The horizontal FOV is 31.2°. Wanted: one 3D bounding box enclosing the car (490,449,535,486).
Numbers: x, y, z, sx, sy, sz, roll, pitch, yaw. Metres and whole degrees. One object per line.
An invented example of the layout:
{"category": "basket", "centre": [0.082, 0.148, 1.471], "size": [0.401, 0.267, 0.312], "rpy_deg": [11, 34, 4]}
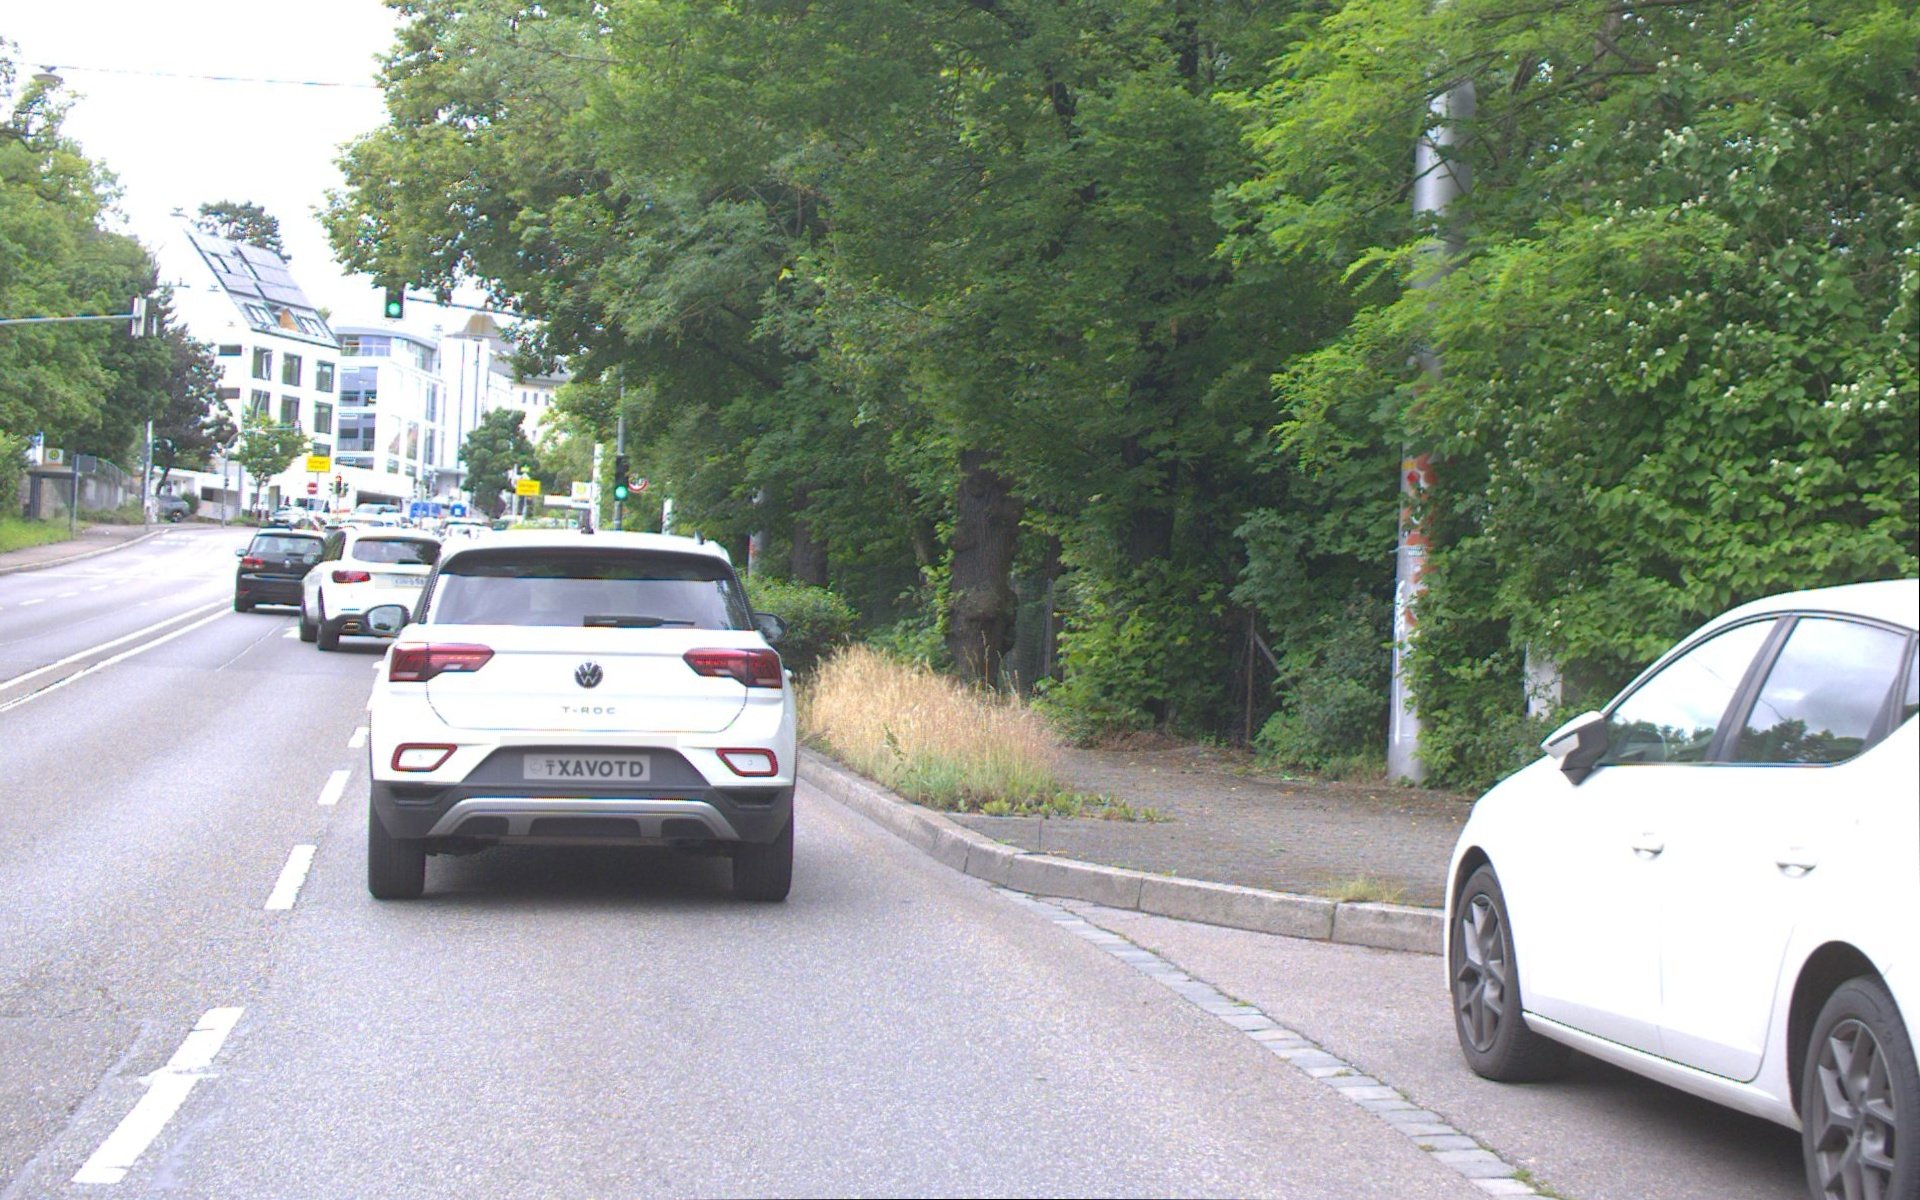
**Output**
{"category": "car", "centre": [-20.267, -5.984, 155.807], "size": [1.710, 1.584, 4.001], "rpy_deg": [2, 2, -4]}

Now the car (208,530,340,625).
{"category": "car", "centre": [-11.835, -0.412, 59.492], "size": [1.949, 1.461, 4.001], "rpy_deg": [2, 2, -8]}

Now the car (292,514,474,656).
{"category": "car", "centre": [-7.730, -0.231, 45.780], "size": [1.851, 1.697, 4.002], "rpy_deg": [0, 3, -17]}

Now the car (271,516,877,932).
{"category": "car", "centre": [-1.881, 0.454, 15.473], "size": [2.000, 1.590, 4.001], "rpy_deg": [-1, 1, -17]}

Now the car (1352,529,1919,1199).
{"category": "car", "centre": [2.428, 0.624, 8.622], "size": [1.732, 1.477, 4.703], "rpy_deg": [2, 2, -7]}
